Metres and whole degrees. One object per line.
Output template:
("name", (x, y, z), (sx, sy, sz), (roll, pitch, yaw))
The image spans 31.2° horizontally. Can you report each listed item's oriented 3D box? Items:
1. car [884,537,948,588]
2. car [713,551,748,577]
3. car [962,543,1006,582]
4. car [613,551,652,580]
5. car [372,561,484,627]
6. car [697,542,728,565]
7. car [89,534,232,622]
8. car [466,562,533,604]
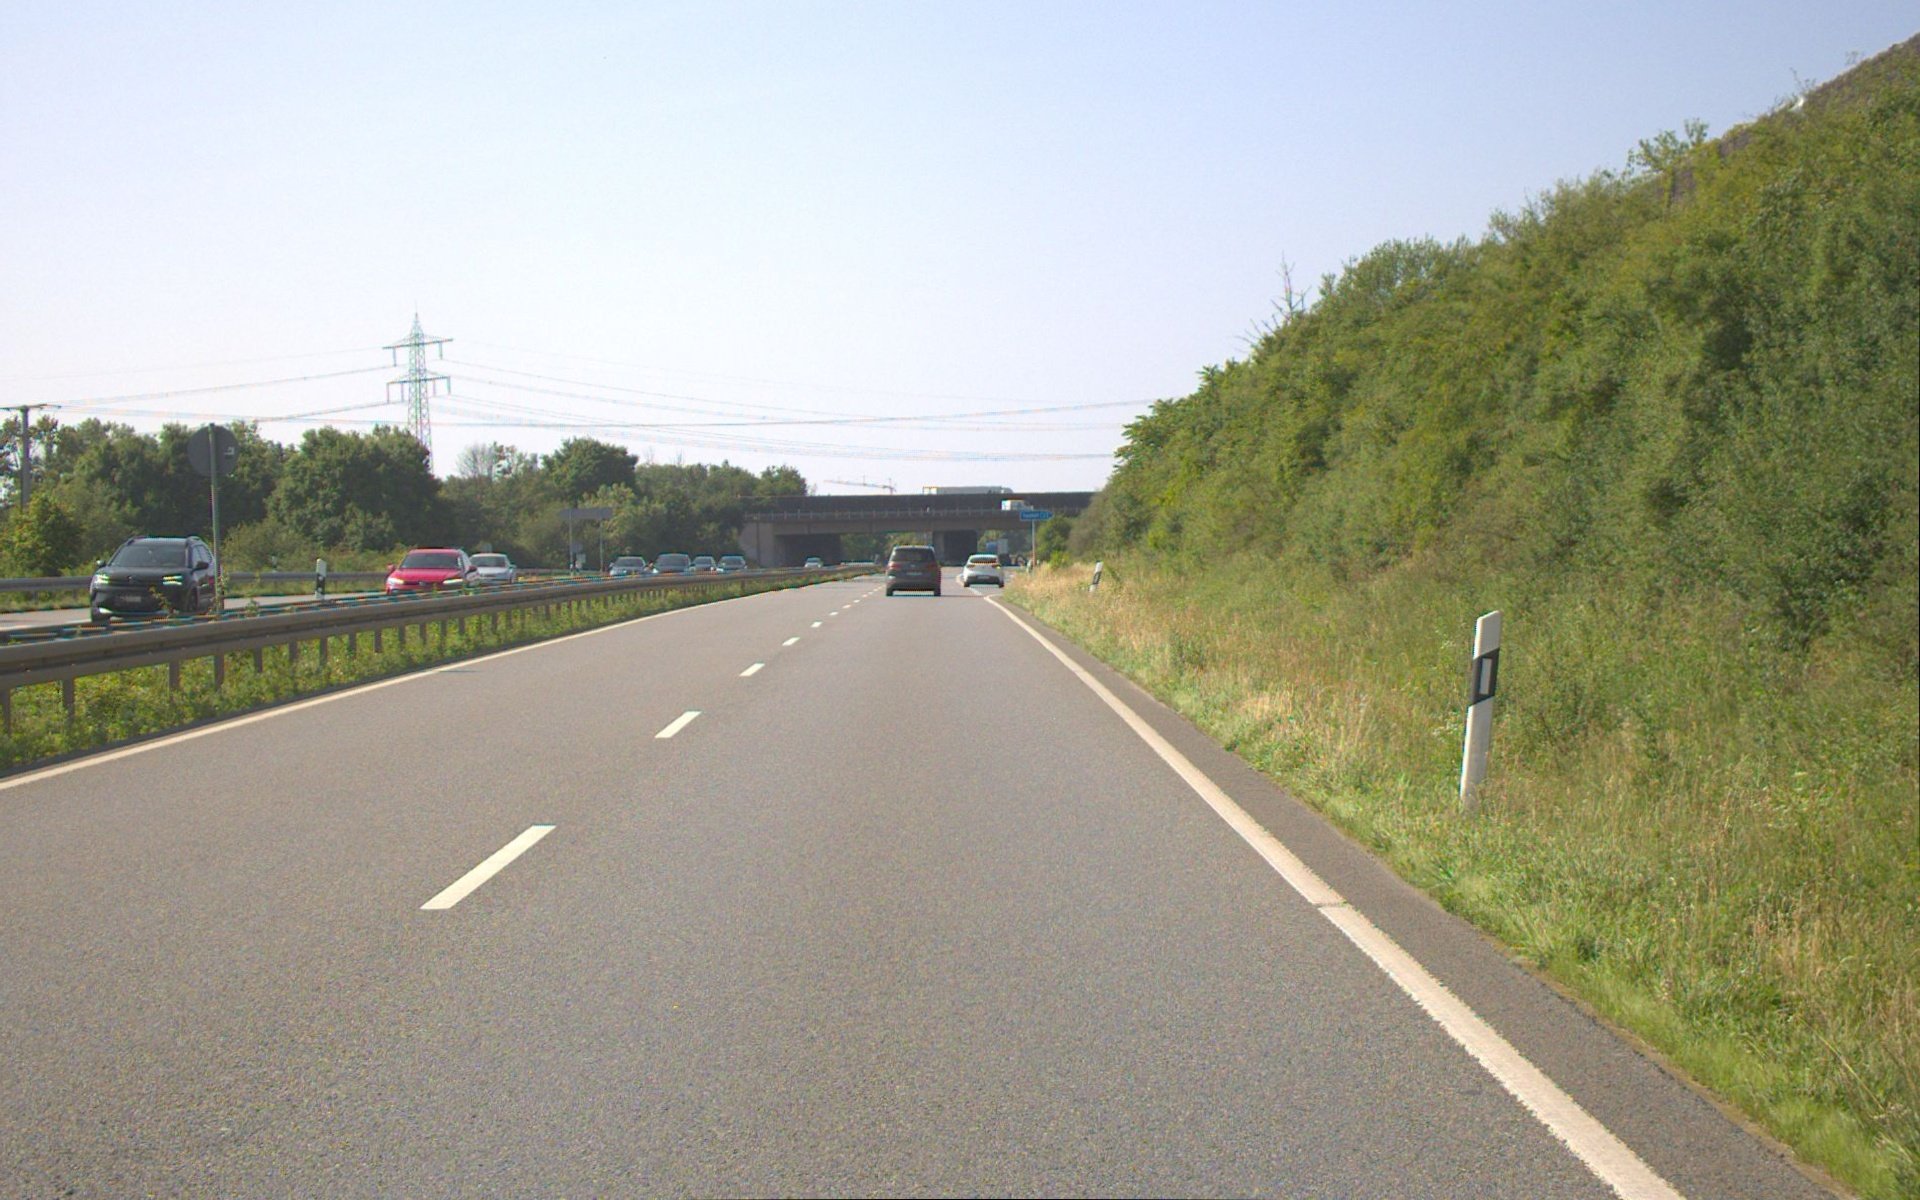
("car", (-1.402, -1.213, 111.457), (1.850, 1.639, 4.000), (0, 1, 2))
("car", (-13.602, -2.135, 204.084), (1.814, 1.468, 4.324), (1, 1, -1))
("car", (1.069, -1.678, 152.474), (1.796, 1.659, 4.000), (2, 1, 2))
("car", (-16.799, -1.779, 176.546), (1.713, 1.445, 4.324), (0, 1, -2))
("car", (-12.447, -0.170, 80.695), (1.876, 1.488, 5.095), (0, 1, 0))
("car", (-17.022, -3.195, 236.493), (1.814, 1.468, 4.324), (1, 1, -1))
("car", (-14.880, -0.434, 64.184), (1.726, 1.590, 4.221), (0, 1, 0))
("car", (-16.403, -0.611, 122.631), (1.821, 1.391, 4.416), (2, 1, 0))
